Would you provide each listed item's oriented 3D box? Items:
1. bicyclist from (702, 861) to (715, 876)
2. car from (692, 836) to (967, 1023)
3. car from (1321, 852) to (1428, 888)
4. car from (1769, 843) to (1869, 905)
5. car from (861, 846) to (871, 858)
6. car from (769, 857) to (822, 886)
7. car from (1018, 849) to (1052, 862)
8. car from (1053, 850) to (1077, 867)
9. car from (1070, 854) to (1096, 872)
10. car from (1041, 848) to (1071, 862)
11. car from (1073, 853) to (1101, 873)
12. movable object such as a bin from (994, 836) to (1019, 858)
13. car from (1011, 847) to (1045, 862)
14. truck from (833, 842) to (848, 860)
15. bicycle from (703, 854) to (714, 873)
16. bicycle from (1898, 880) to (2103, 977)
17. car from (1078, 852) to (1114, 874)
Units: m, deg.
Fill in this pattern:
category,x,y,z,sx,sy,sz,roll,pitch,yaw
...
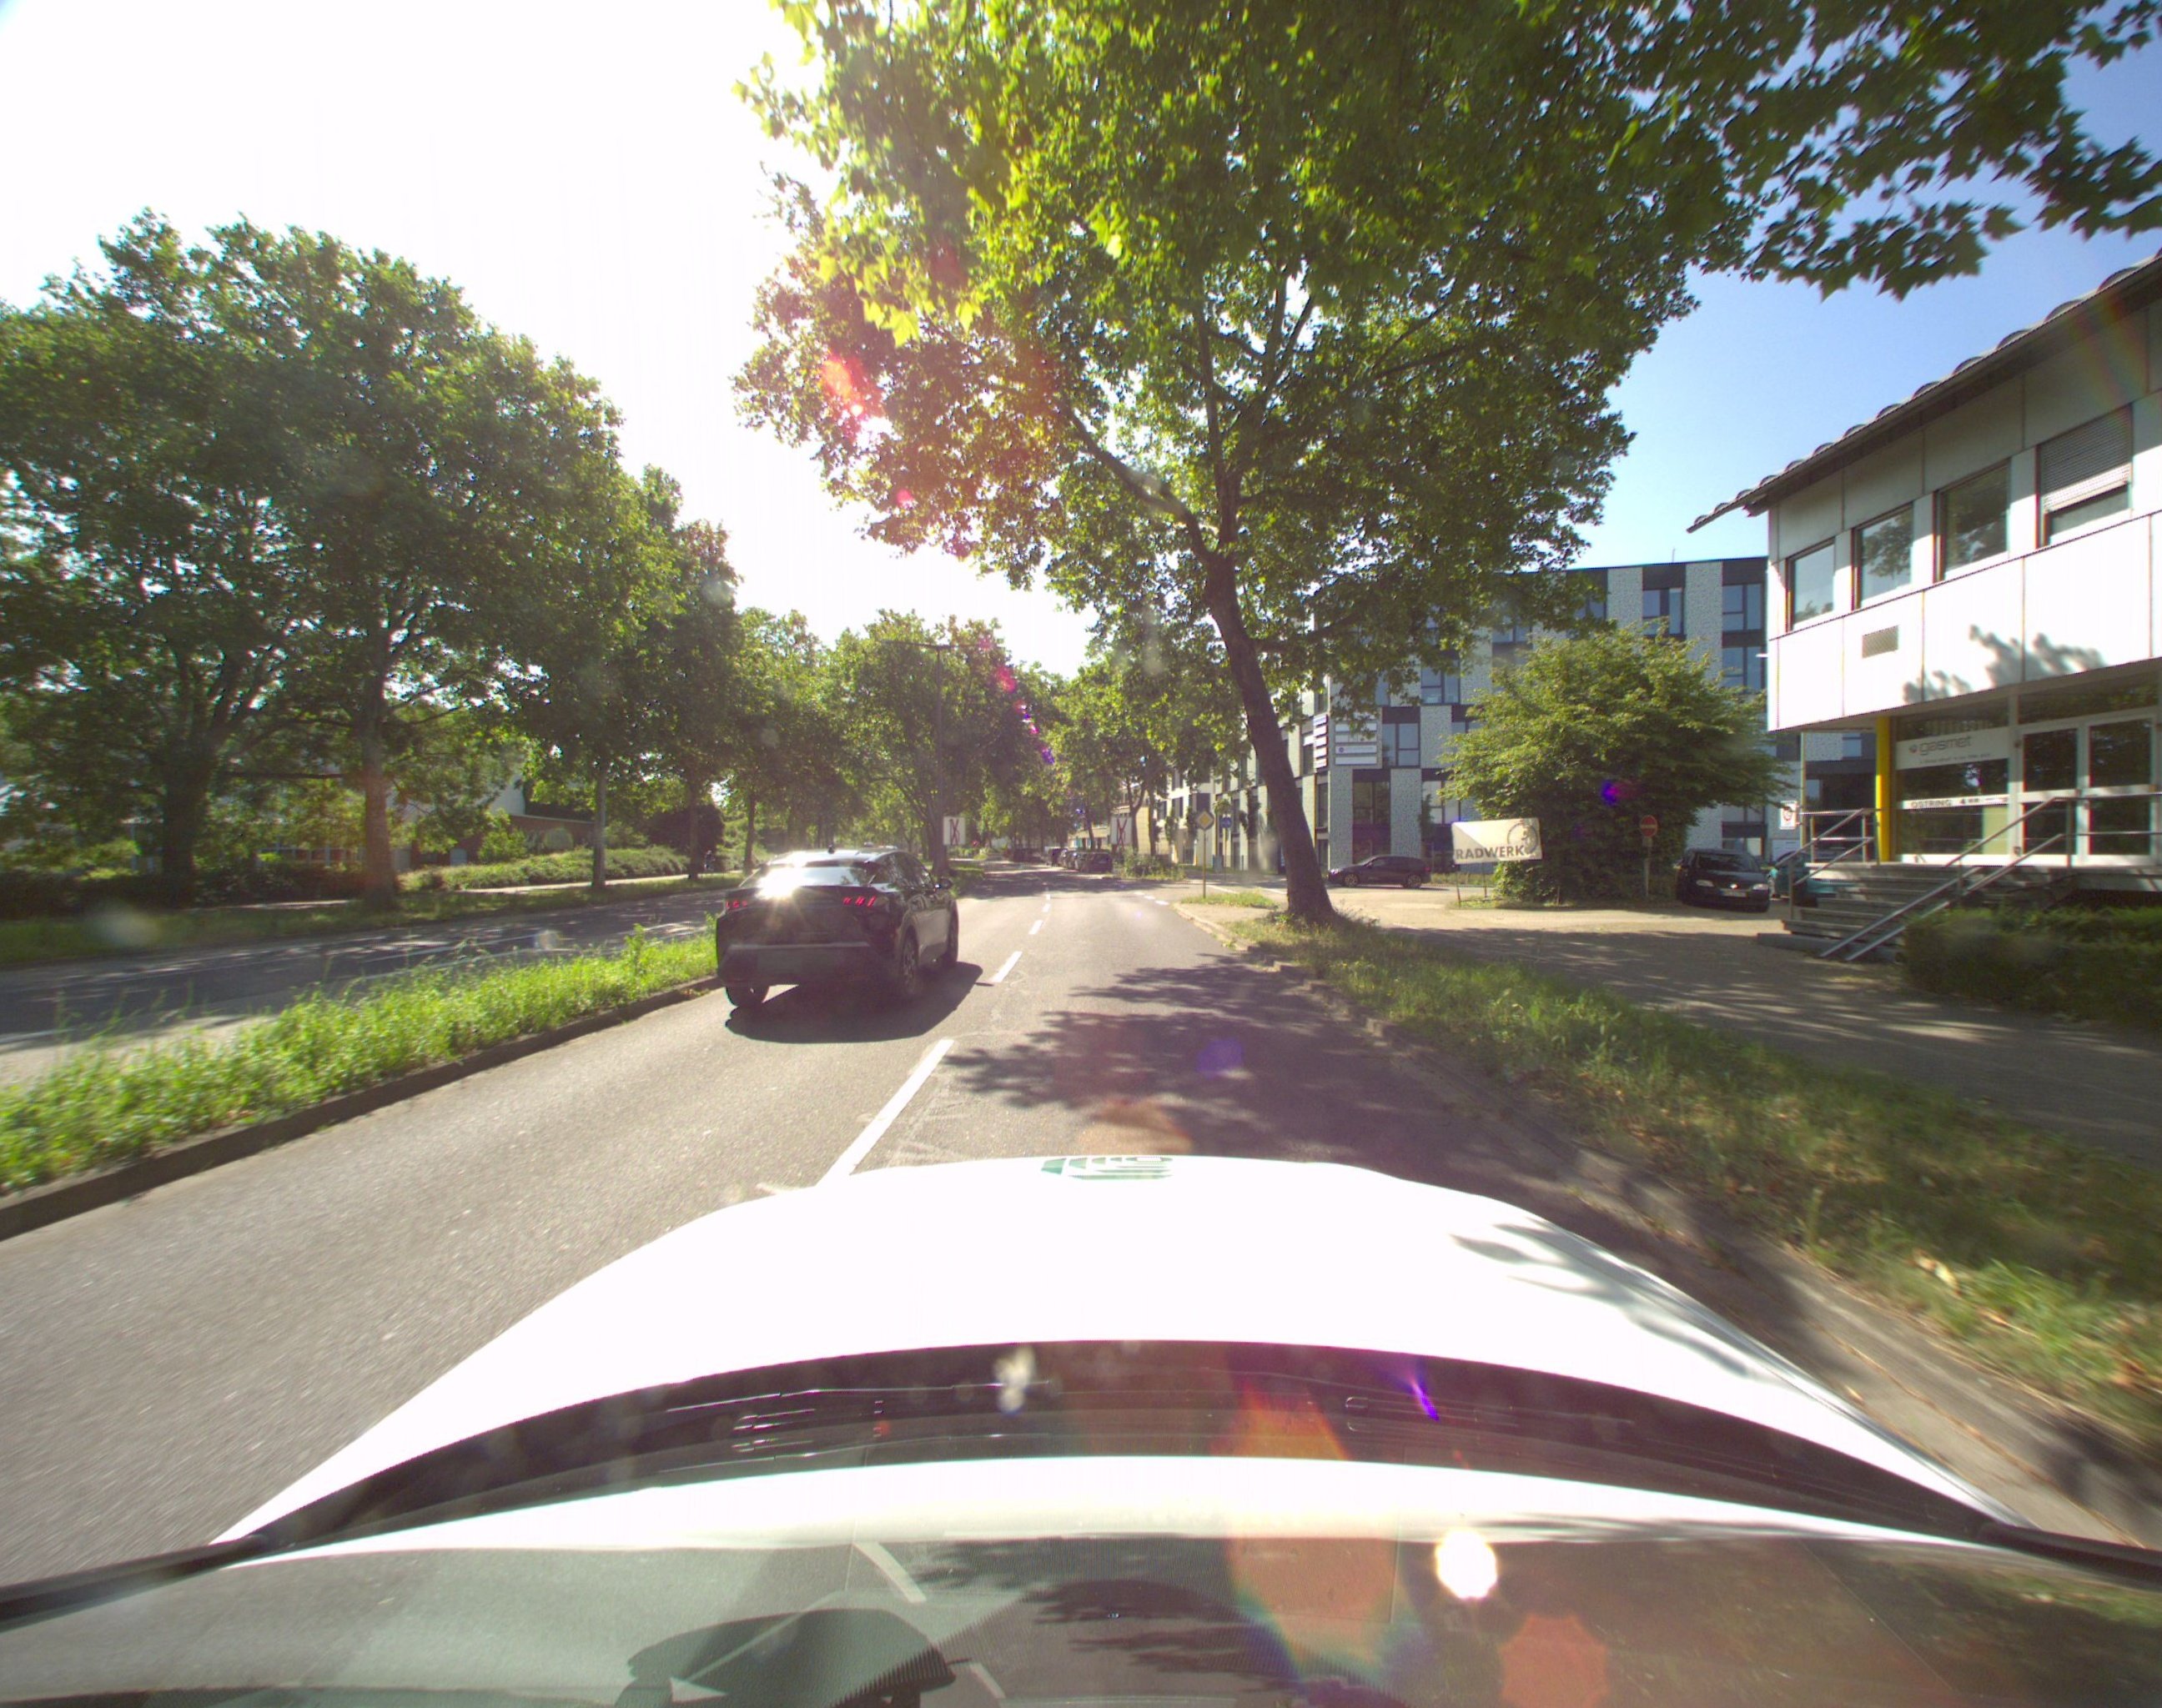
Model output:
category,x,y,z,sx,sy,sz,roll,pitch,yaw
bicyclist,-27.086,1.055,59.194,0.428,1.013,1.422,0,0,-6
car,-2.643,0.717,9.786,1.866,1.696,4.435,-1,0,0
car,12.952,0.684,36.153,4.221,1.517,2.006,1,0,10
car,21.563,0.567,23.932,1.659,1.662,3.772,-3,-2,35
car,-61.594,-0.563,233.334,2.456,3.449,7.059,2,1,-17
car,-16.687,0.982,47.790,1.791,1.556,4.389,-1,0,-4
car,-5.939,0.148,105.638,4.122,1.633,1.697,-1,0,-27
car,-1.613,0.428,80.639,1.707,1.669,4.517,-1,0,-11
car,0.134,0.736,68.331,1.704,1.455,4.646,0,0,-6
car,-3.114,0.110,101.315,3.557,1.640,1.651,0,0,-14
car,0.448,0.679,63.926,1.704,1.487,4.092,0,0,-6
movable object such as a bin,-10.911,-1.025,119.077,2.346,3.241,3.393,-1,0,-36
car,-6.925,0.043,107.284,4.124,1.880,1.769,-1,0,-28
truck,-46.751,-0.642,158.322,2.457,3.449,7.054,1,1,-19
bicycle,-27.084,0.663,59.218,0.428,1.385,0.953,0,0,-6
bicycle,11.198,0.905,9.968,1.659,1.130,0.510,-2,-1,12
car,1.022,0.618,57.872,1.707,1.487,4.703,-1,0,-10
